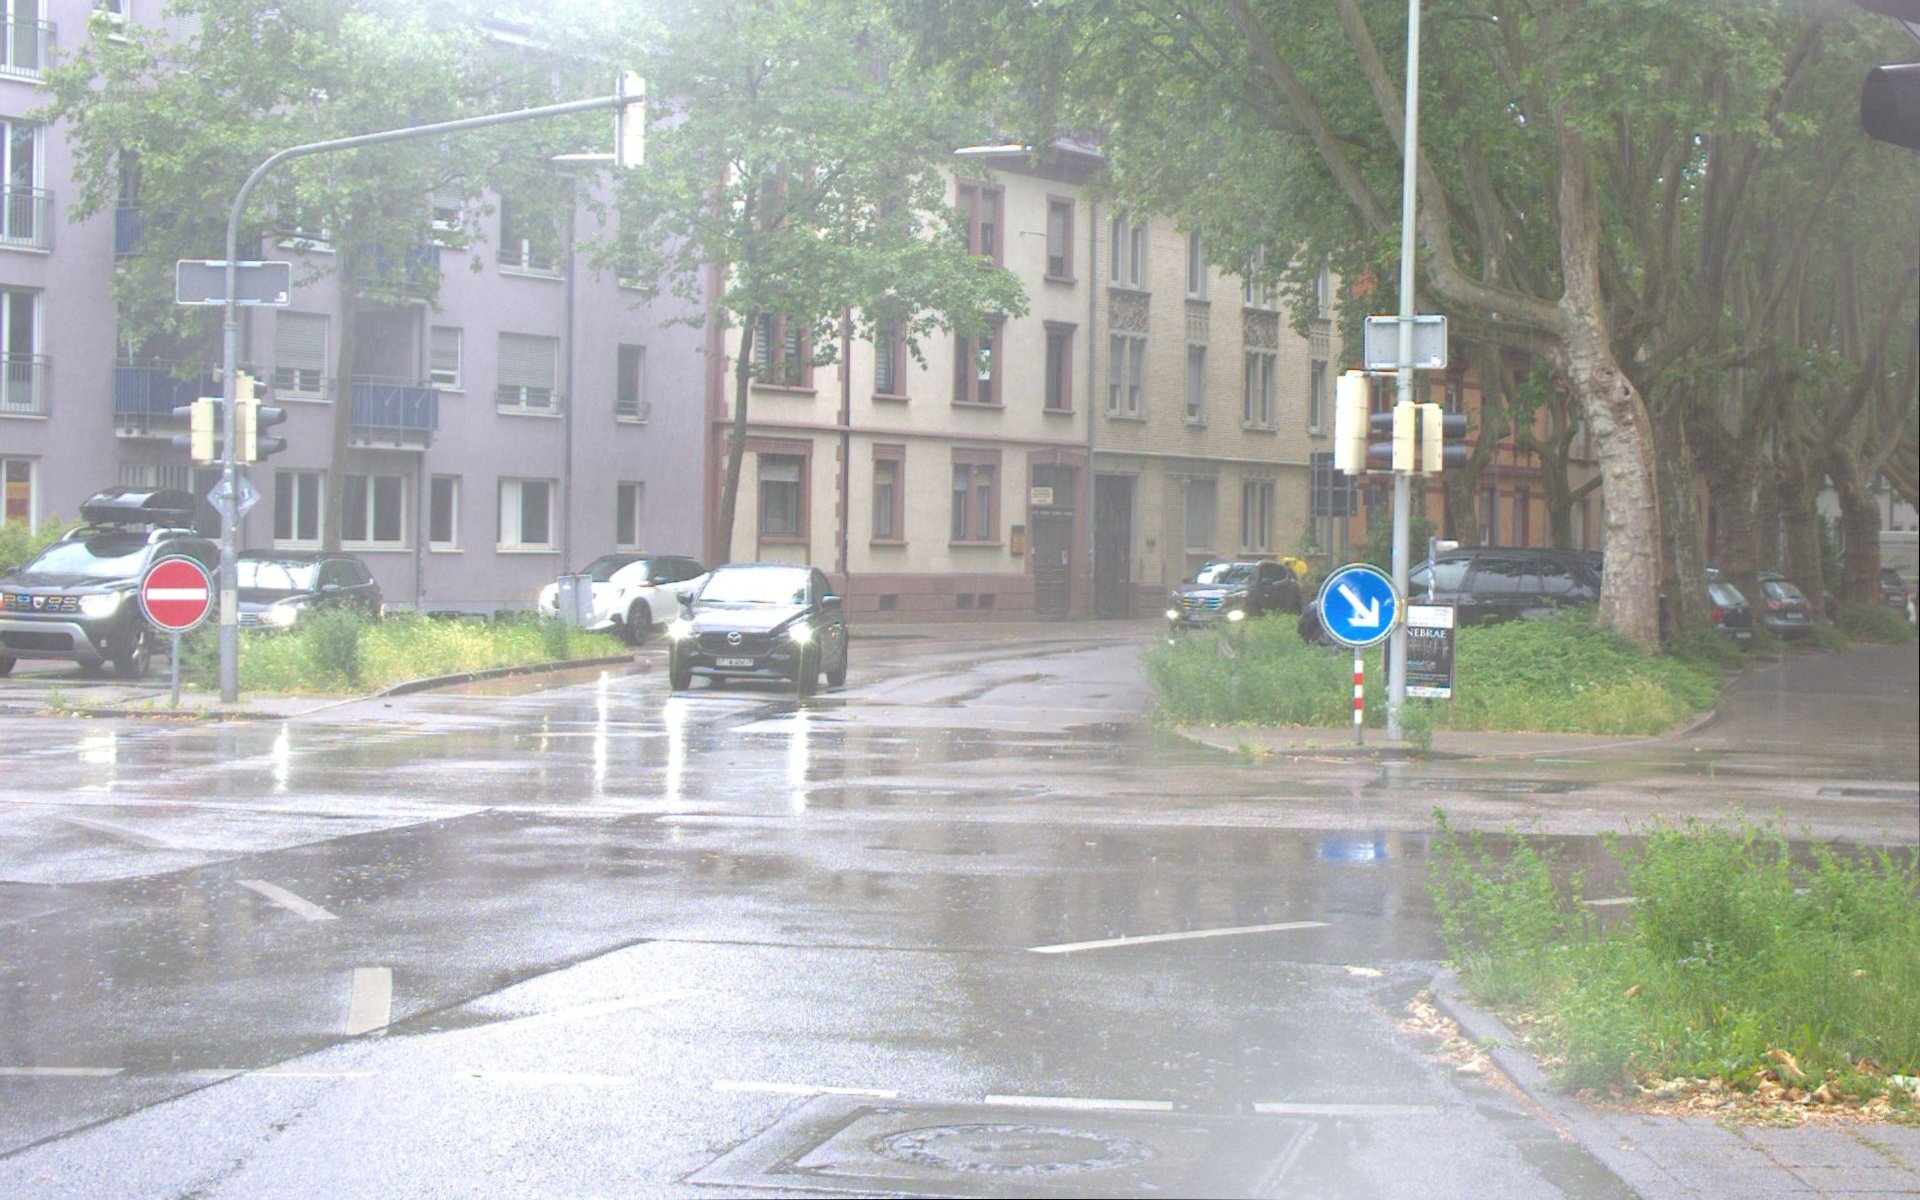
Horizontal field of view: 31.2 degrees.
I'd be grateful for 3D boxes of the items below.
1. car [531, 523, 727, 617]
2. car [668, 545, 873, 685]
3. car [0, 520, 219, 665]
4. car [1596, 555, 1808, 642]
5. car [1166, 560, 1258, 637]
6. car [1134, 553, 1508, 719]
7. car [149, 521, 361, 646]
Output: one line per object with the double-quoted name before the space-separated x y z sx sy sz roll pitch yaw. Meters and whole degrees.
"car" -5.660 -0.537 59.299 1.678 1.547 4.194 0 1 20
"car" -2.183 0.148 40.527 1.603 1.547 3.558 0 1 10
"car" -9.767 -0.113 38.783 1.725 1.547 3.559 -1 1 5
"car" 14.153 -0.033 65.581 3.611 1.612 1.679 0 1 28
"car" 5.388 -0.051 73.210 1.603 1.547 3.558 -1 1 10
"car" 3.486 0.337 32.992 3.480 1.518 1.519 -1 1 9
"car" -9.165 -0.243 44.938 1.725 1.547 3.559 -1 1 5
